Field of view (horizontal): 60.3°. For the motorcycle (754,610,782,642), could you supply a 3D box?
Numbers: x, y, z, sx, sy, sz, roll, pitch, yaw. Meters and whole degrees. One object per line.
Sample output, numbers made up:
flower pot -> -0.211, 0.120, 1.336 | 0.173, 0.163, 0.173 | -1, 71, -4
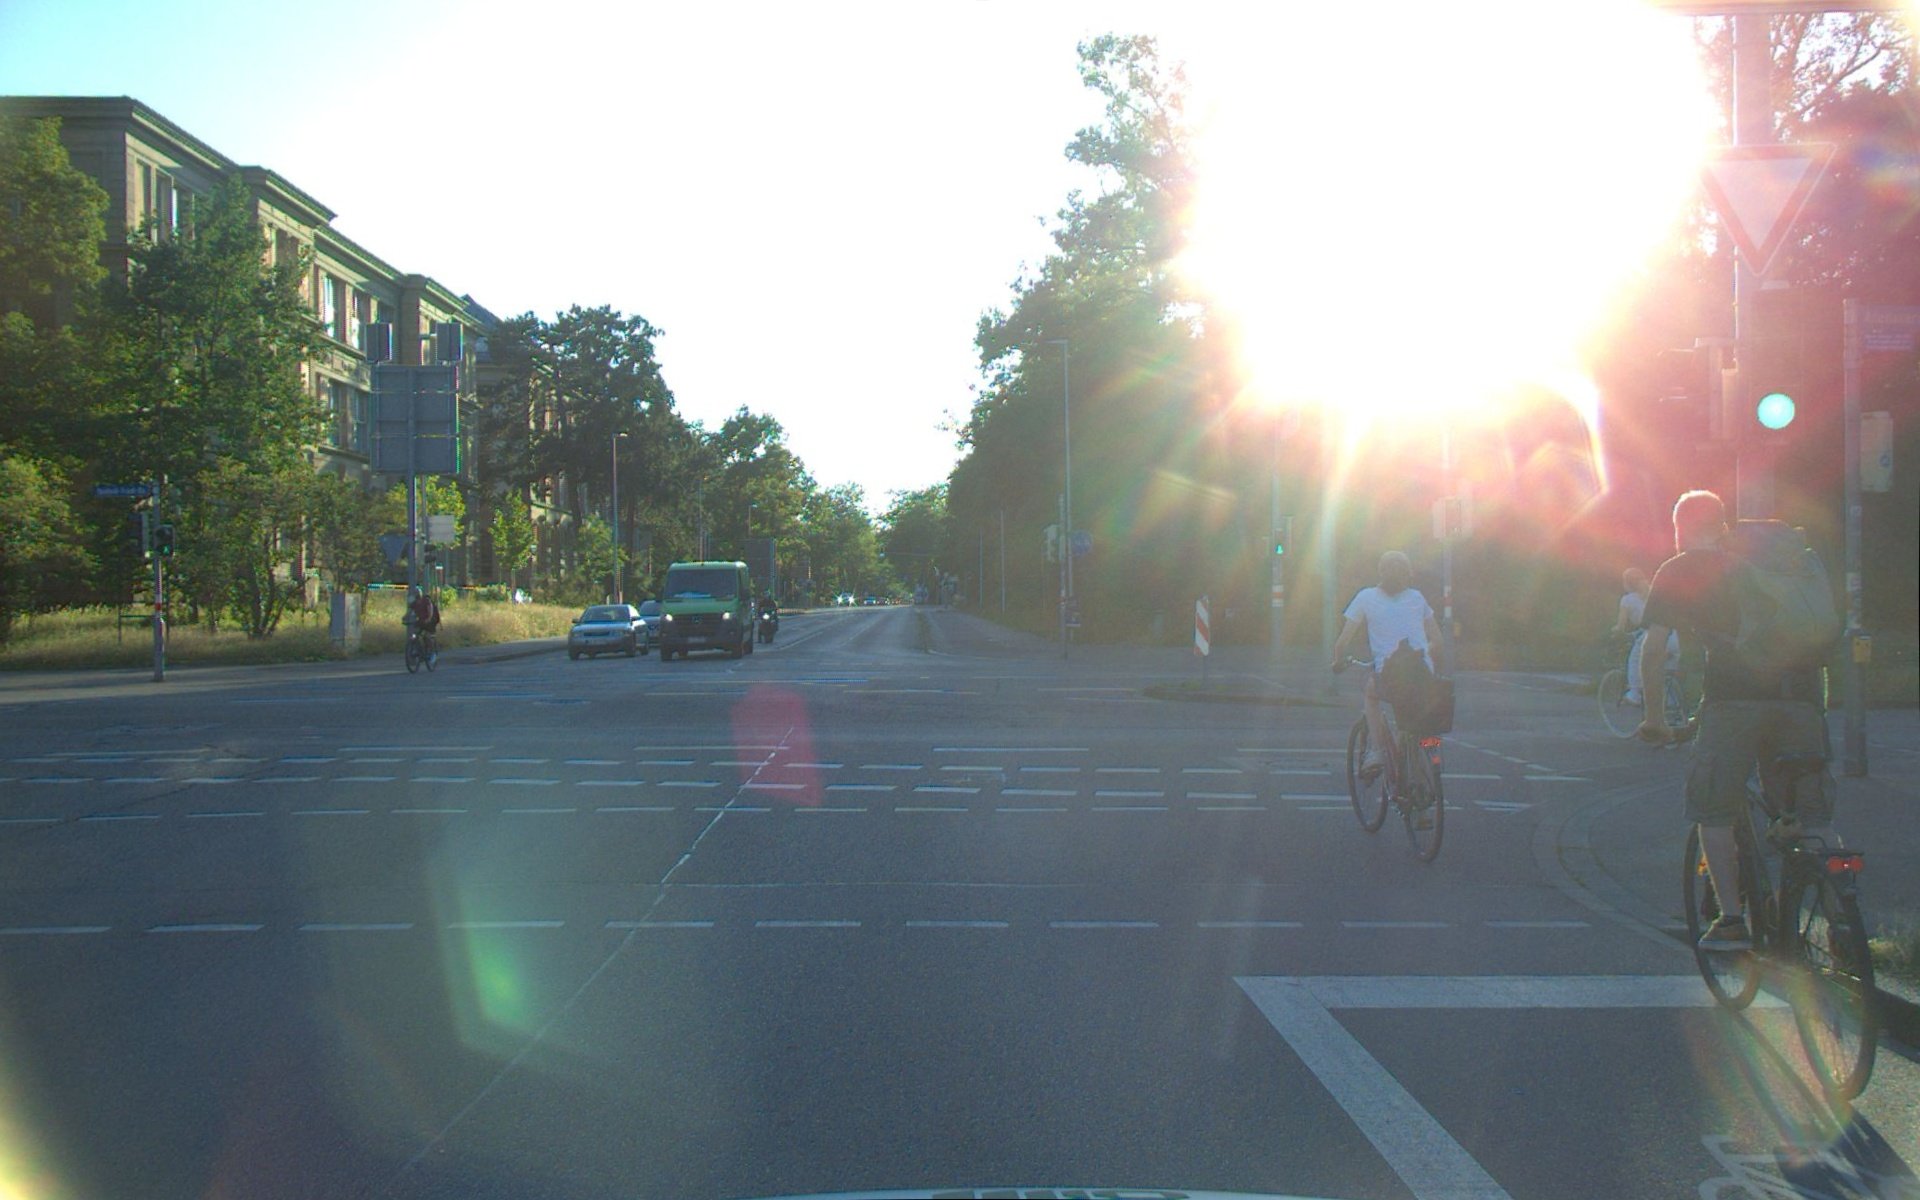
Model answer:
motorcycle -> -6.236, 0.830, 53.779 | 0.739, 1.019, 1.878 | -1, 0, -1

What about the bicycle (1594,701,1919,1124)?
bicycle -> 2.761, 0.940, 5.582 | 0.684, 1.081, 1.826 | 0, 0, 5

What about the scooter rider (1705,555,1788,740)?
scooter rider -> 7.783, 0.468, 16.386 | 0.554, 1.797, 0.505 | -1, -1, 0

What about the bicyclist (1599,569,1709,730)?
bicyclist -> 6.838, 0.474, 16.335 | 0.744, 1.544, 0.857 | 0, 0, 2

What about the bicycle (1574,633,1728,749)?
bicycle -> 6.840, 0.871, 16.489 | 0.755, 1.024, 2.017 | 0, 0, 2

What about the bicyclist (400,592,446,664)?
bicyclist -> -11.687, 0.596, 36.016 | 0.669, 1.539, 0.955 | -1, 0, -1

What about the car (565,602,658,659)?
car -> -9.397, 0.787, 44.841 | 1.694, 1.433, 4.139 | -1, 0, -1

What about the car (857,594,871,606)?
car -> -13.874, -0.007, 239.356 | 1.954, 1.668, 3.996 | -1, 0, -4

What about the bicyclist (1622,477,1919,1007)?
bicyclist -> 2.777, 0.451, 5.730 | 0.684, 1.696, 0.799 | 1, 0, 5

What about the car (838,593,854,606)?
car -> -13.418, -0.074, 194.586 | 1.735, 1.500, 3.772 | -1, 0, -5

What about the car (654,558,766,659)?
car -> -6.191, 0.195, 41.601 | 1.997, 2.317, 5.940 | -1, 0, -1

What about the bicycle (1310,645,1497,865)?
bicycle -> 2.649, 0.880, 10.068 | 0.601, 1.158, 1.884 | 0, 0, -1

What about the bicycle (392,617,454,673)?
bicycle -> -11.683, 0.965, 36.054 | 0.672, 1.143, 2.168 | -1, 0, -1

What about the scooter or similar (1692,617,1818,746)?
scooter or similar -> 7.785, 0.774, 16.258 | 0.550, 1.210, 1.422 | 0, -1, 0

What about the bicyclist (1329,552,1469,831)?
bicyclist -> 2.643, 0.530, 10.032 | 0.591, 1.613, 0.909 | 0, 0, -1

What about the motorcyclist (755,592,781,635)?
motorcyclist -> -6.239, 0.445, 53.795 | 0.734, 1.382, 0.704 | -1, -1, -1

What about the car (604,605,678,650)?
car -> -10.261, 0.854, 53.370 | 1.729, 1.351, 3.642 | -1, 0, -1
